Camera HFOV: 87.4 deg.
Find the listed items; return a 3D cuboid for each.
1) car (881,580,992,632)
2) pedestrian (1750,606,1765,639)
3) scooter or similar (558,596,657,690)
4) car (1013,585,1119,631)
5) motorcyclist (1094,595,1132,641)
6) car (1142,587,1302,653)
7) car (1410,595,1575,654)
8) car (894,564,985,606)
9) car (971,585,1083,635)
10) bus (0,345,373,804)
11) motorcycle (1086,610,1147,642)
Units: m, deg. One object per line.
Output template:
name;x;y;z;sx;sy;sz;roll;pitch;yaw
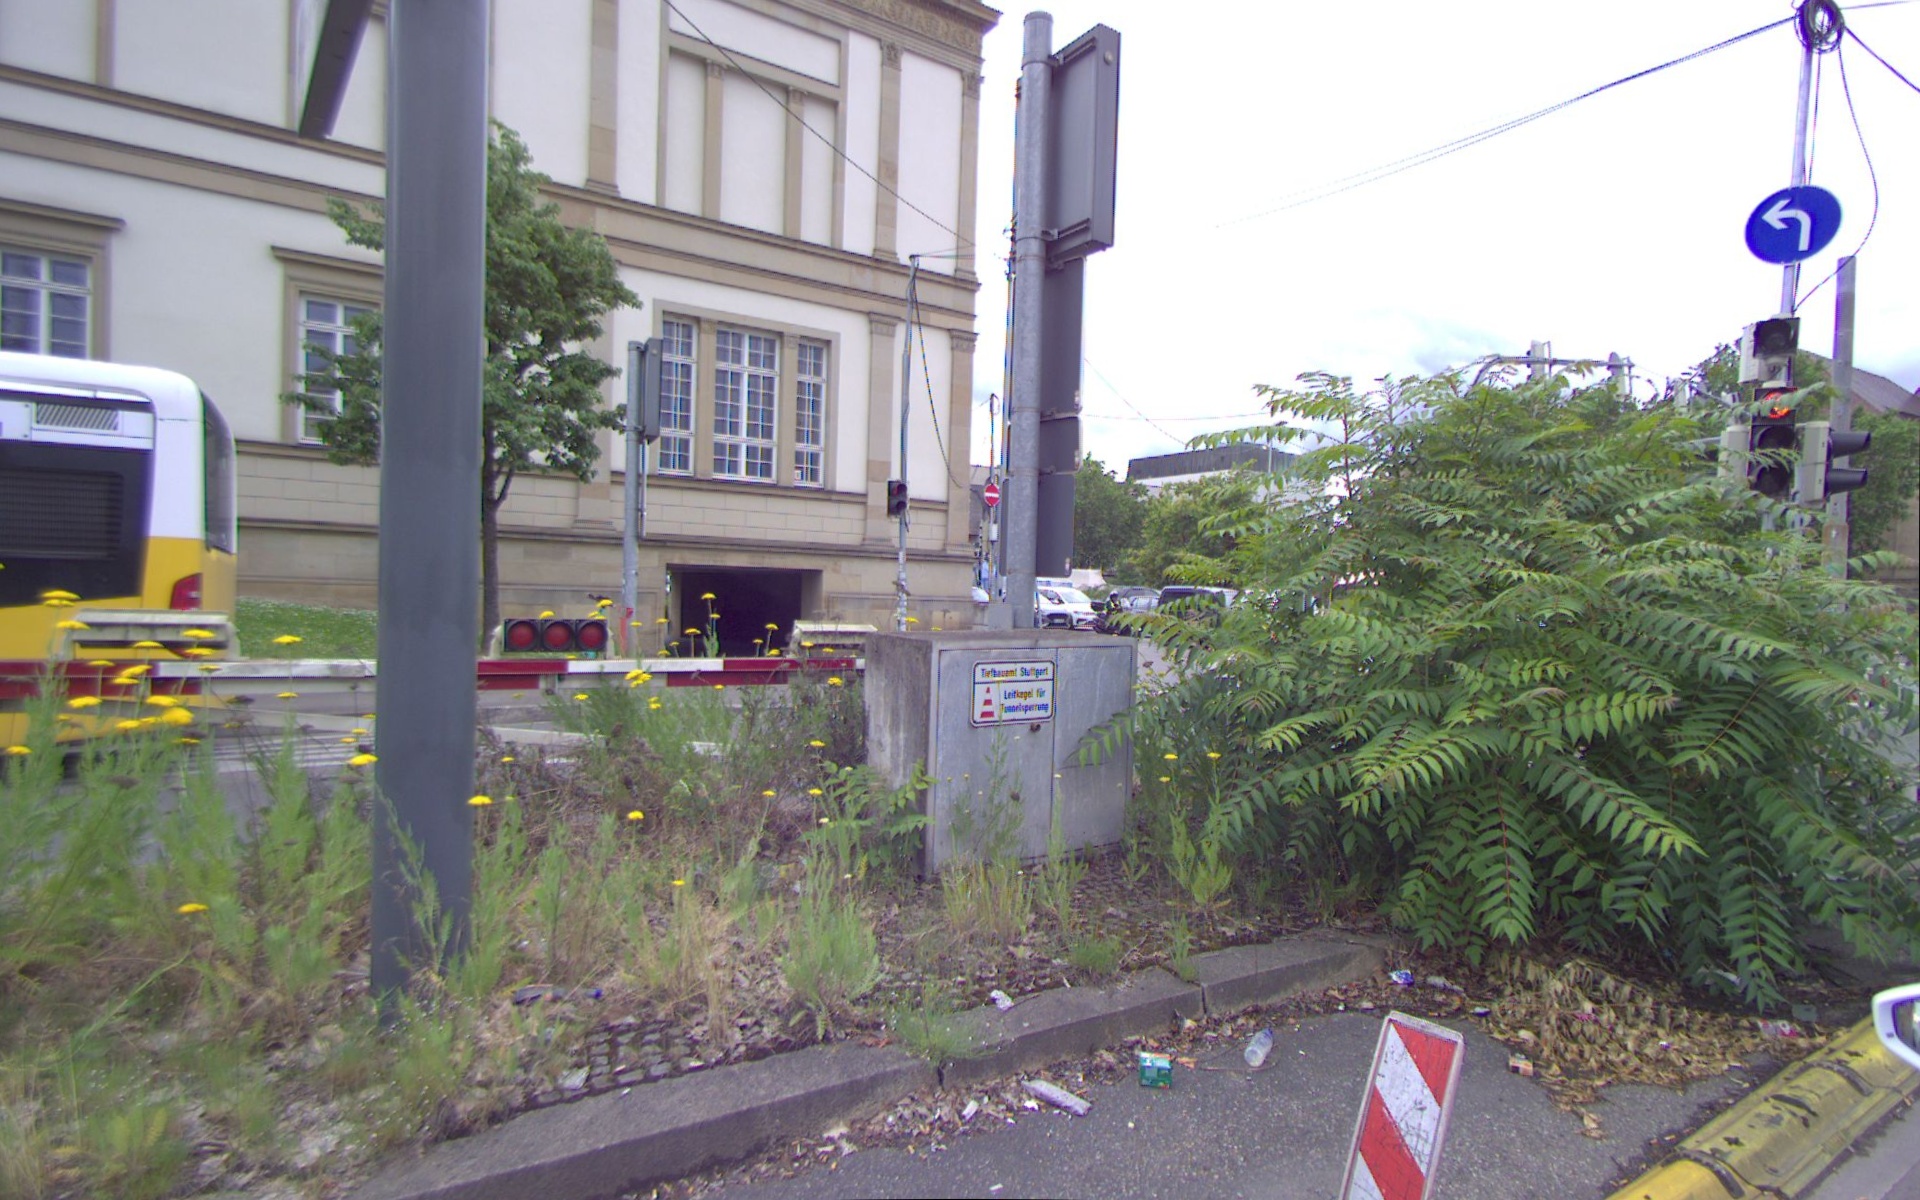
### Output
car;-0.912;0.181;35.919;1.979;1.698;4.285;1;1;-34
pedestrian;49.808;1.374;62.747;0.516;2.040;0.428;2;1;17
scooter or similar;-4.943;0.591;14.133;1.132;1.190;0.540;6;0;-10
car;4.256;0.305;40.924;1.979;1.698;4.285;1;1;-34
motorcyclist;4.989;0.576;32.766;0.738;1.442;0.959;1;1;-35
car;7.543;0.524;29.279;1.979;1.698;4.285;1;1;-34
car;17.127;0.740;32.451;1.986;1.698;4.271;1;1;-43
car;-0.945;-0.667;43.684;1.979;1.698;4.285;1;1;-34
car;2.465;0.350;37.705;1.979;1.698;4.285;1;1;-34
bus;-9.284;-0.239;6.908;9.019;3.156;2.830;1;1;-32
motorcycle;5.069;0.836;32.653;0.749;0.937;2.042;1;1;-35
